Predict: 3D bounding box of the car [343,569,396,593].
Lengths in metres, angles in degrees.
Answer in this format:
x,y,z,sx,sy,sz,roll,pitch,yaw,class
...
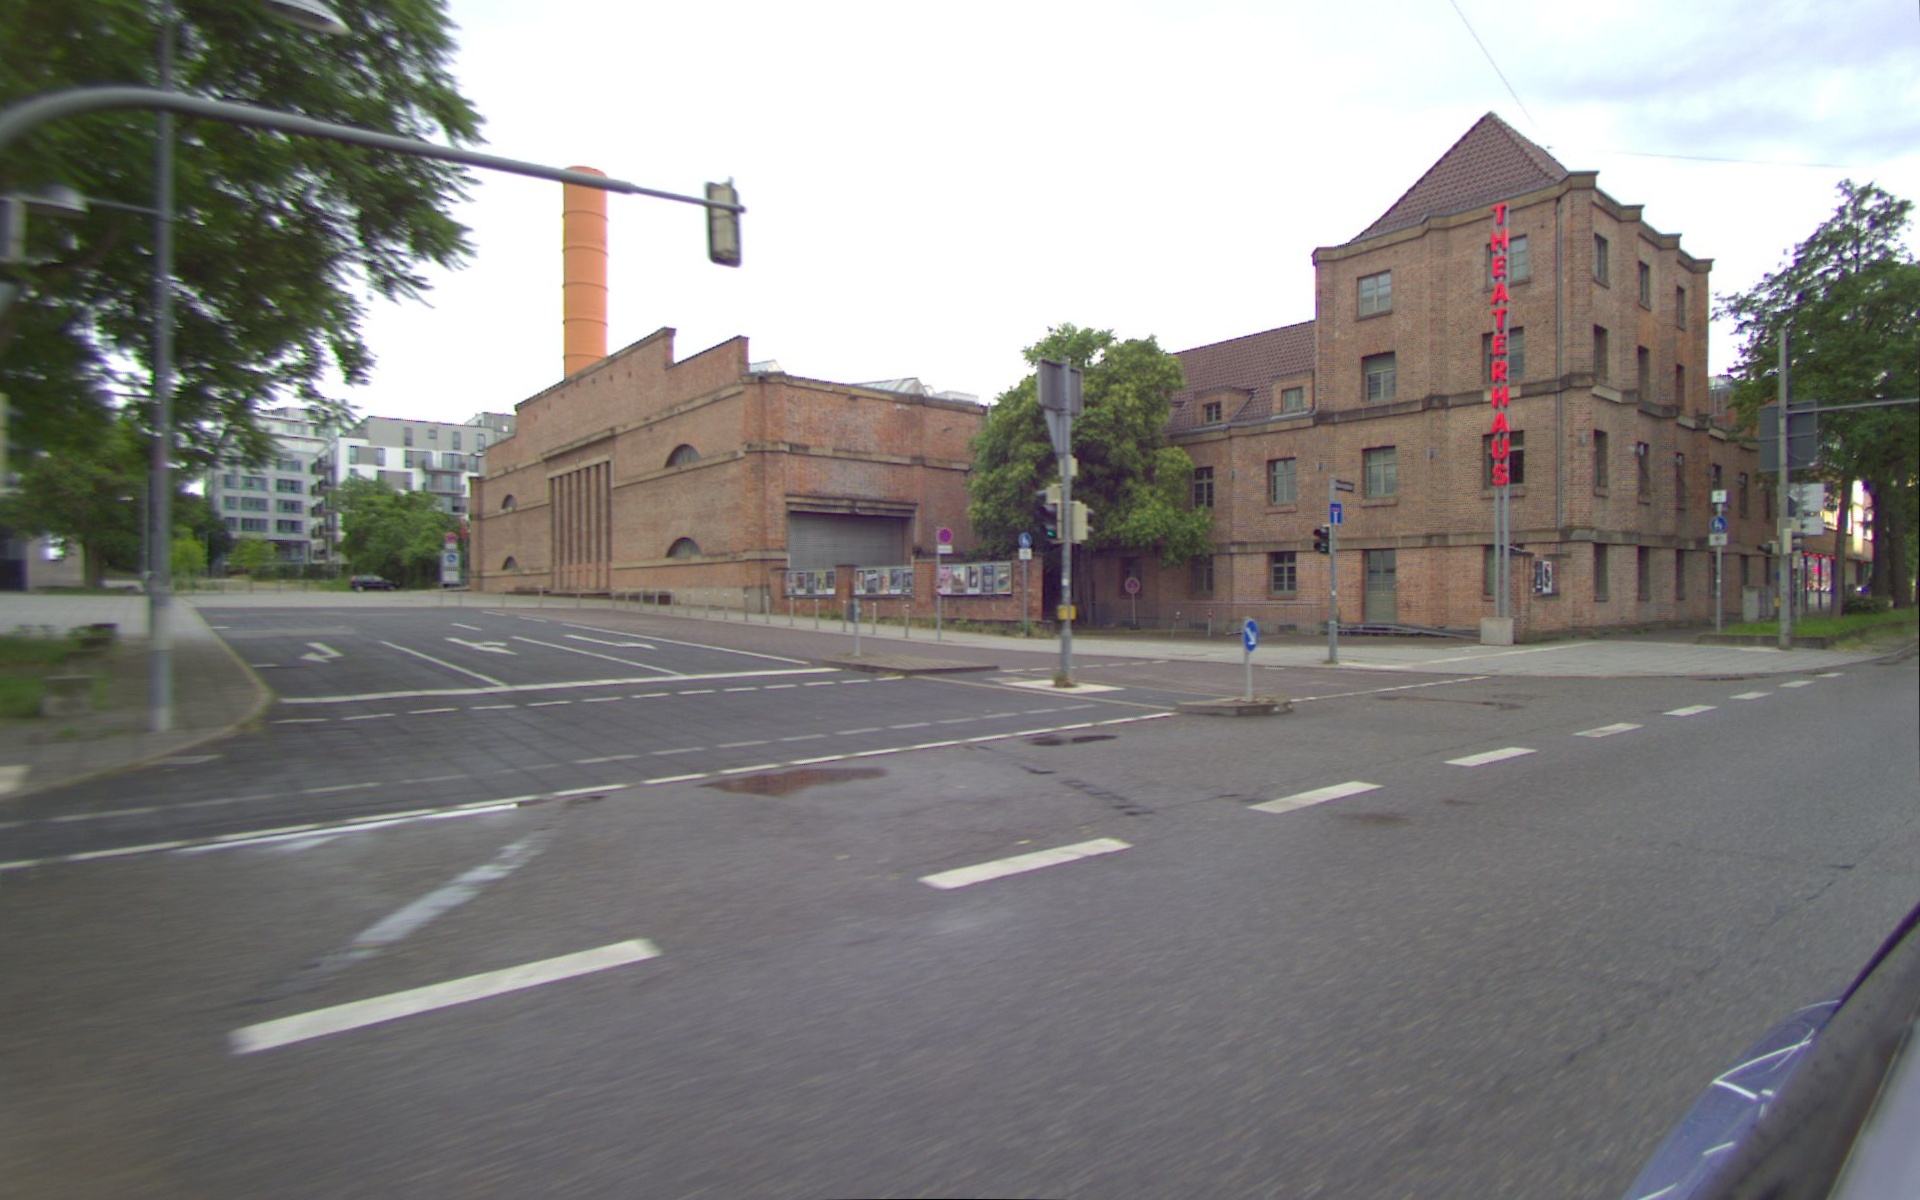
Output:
x,y,z,sx,sy,sz,roll,pitch,yaw,class
-53.289,-1.695,91.349,3.927,2.039,1.999,-2,1,-37,car
